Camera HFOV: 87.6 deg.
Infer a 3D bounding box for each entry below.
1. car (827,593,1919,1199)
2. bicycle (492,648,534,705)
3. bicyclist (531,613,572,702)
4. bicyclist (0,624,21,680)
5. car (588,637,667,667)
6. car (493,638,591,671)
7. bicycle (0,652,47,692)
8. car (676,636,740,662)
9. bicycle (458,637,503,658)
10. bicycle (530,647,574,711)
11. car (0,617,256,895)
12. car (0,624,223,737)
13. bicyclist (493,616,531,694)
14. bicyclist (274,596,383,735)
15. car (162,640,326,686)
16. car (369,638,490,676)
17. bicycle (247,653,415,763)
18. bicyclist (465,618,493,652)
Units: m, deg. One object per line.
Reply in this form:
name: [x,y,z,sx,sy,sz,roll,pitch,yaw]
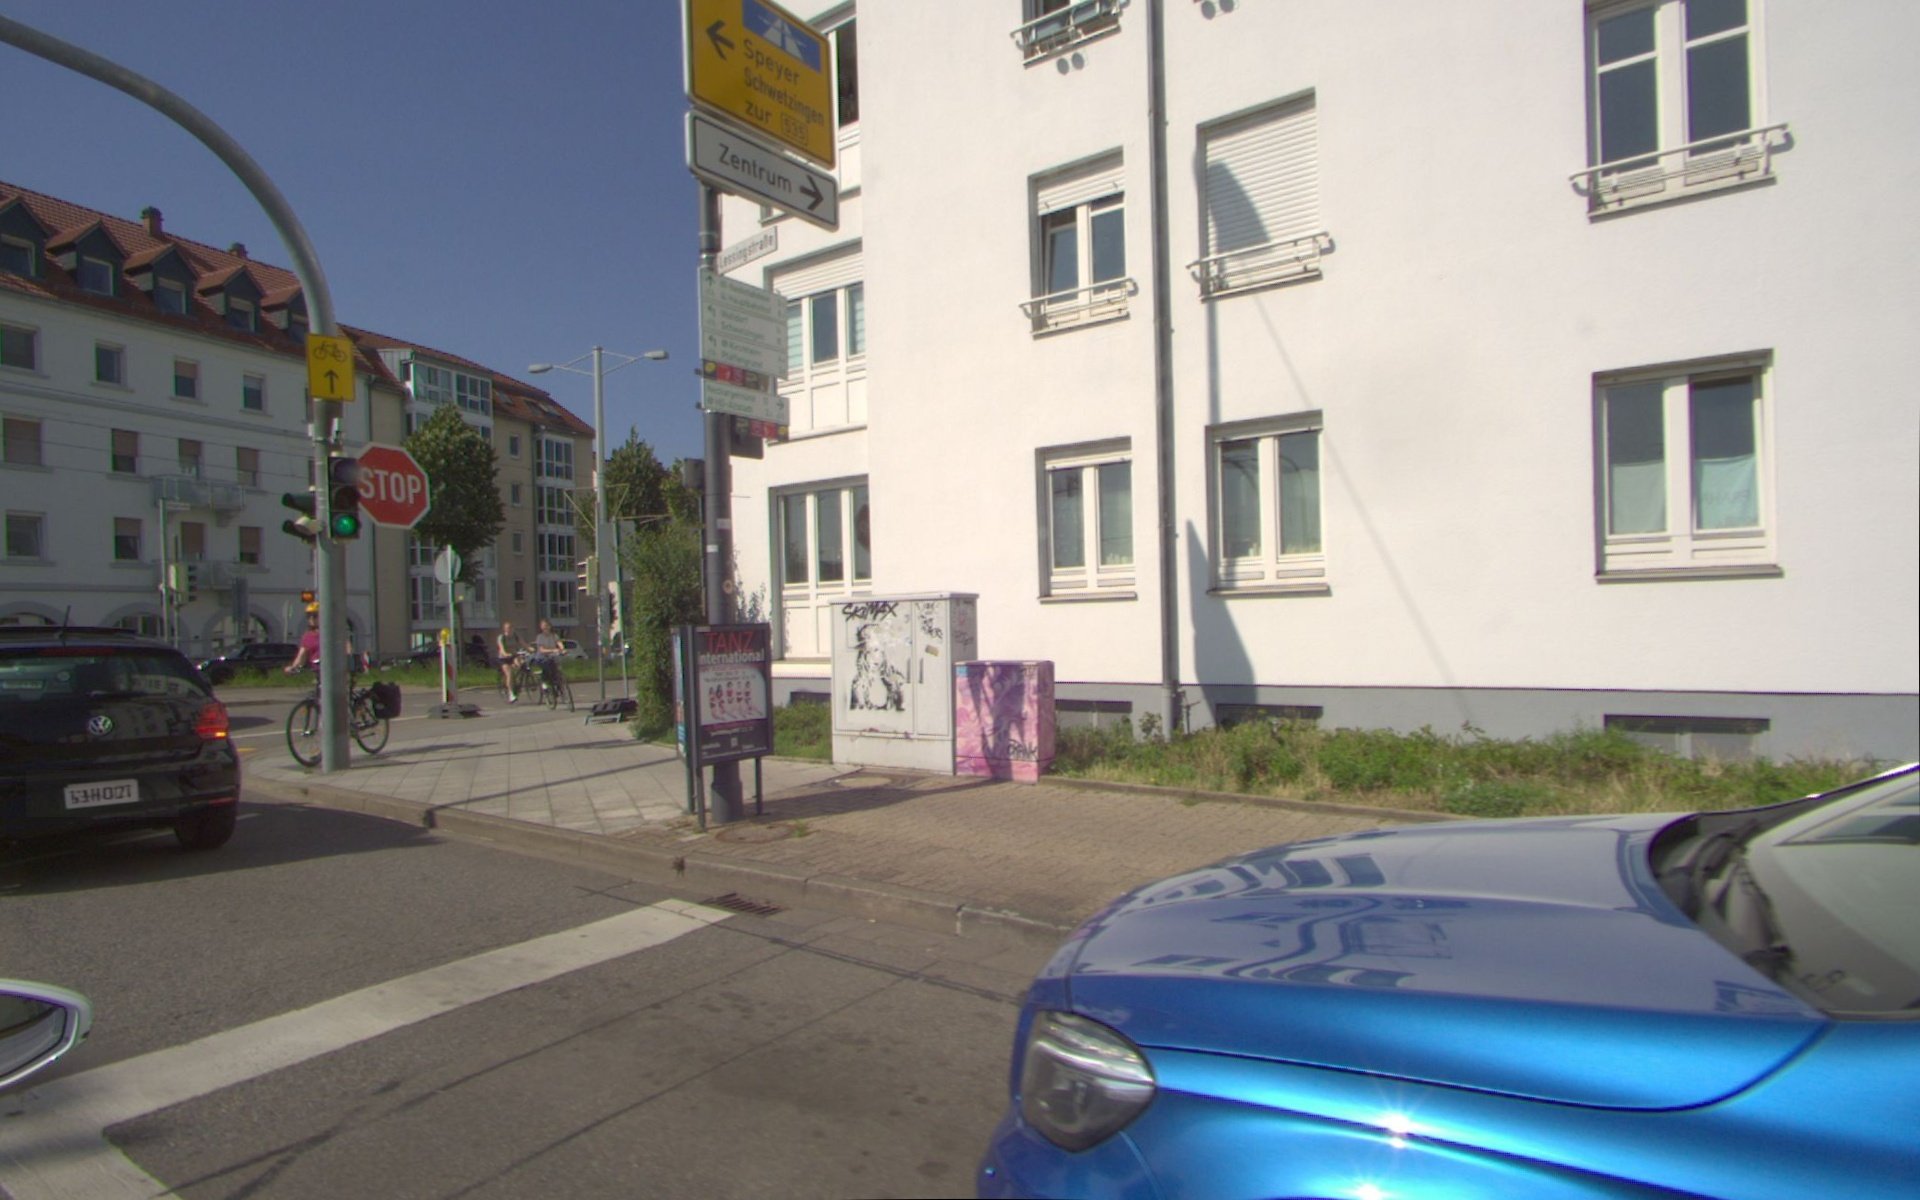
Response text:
car: [2.117,0.751,1.031,4.486,1.499,1.668,-1,-2,33]
bicycle: [-9.517,1.601,21.280,0.610,1.113,1.777,-1,-1,-31]
bicyclist: [-7.536,1.052,18.463,0.614,1.599,0.914,0,-2,-27]
bicyclist: [-25.004,1.337,25.751,0.900,1.433,0.868,-1,-2,-11]
car: [-16.807,2.612,50.790,1.737,1.371,3.994,-3,-3,19]
car: [-18.531,2.402,44.600,1.738,1.371,3.992,-3,-3,21]
bicycle: [-25.045,1.859,25.727,2.204,1.002,0.868,-1,-2,-11]
car: [-14.463,2.815,57.726,1.737,1.371,3.996,-3,-3,17]
bicycle: [-24.050,2.389,50.242,0.812,1.033,1.897,-1,-2,41]
bicycle: [-7.595,1.445,18.594,0.618,1.113,1.779,0,-2,-27]
car: [-6.493,0.892,6.830,3.612,1.512,1.586,-1,-2,34]
car: [-13.692,1.198,15.894,1.665,1.575,3.655,1,-2,-9]
bicyclist: [-9.554,1.161,21.342,0.615,1.610,0.913,0,-2,-31]
bicyclist: [-7.136,0.729,11.346,0.586,1.496,0.918,-1,-1,8]
car: [-22.911,1.998,32.203,1.739,1.337,3.989,-3,-3,24]
car: [-20.560,2.198,38.997,1.739,1.371,3.991,-3,-3,22]
bicycle: [-7.114,1.186,11.436,0.593,1.113,1.815,-1,-2,8]
bicyclist: [-24.108,1.766,50.194,0.800,1.675,1.001,-1,-2,42]
